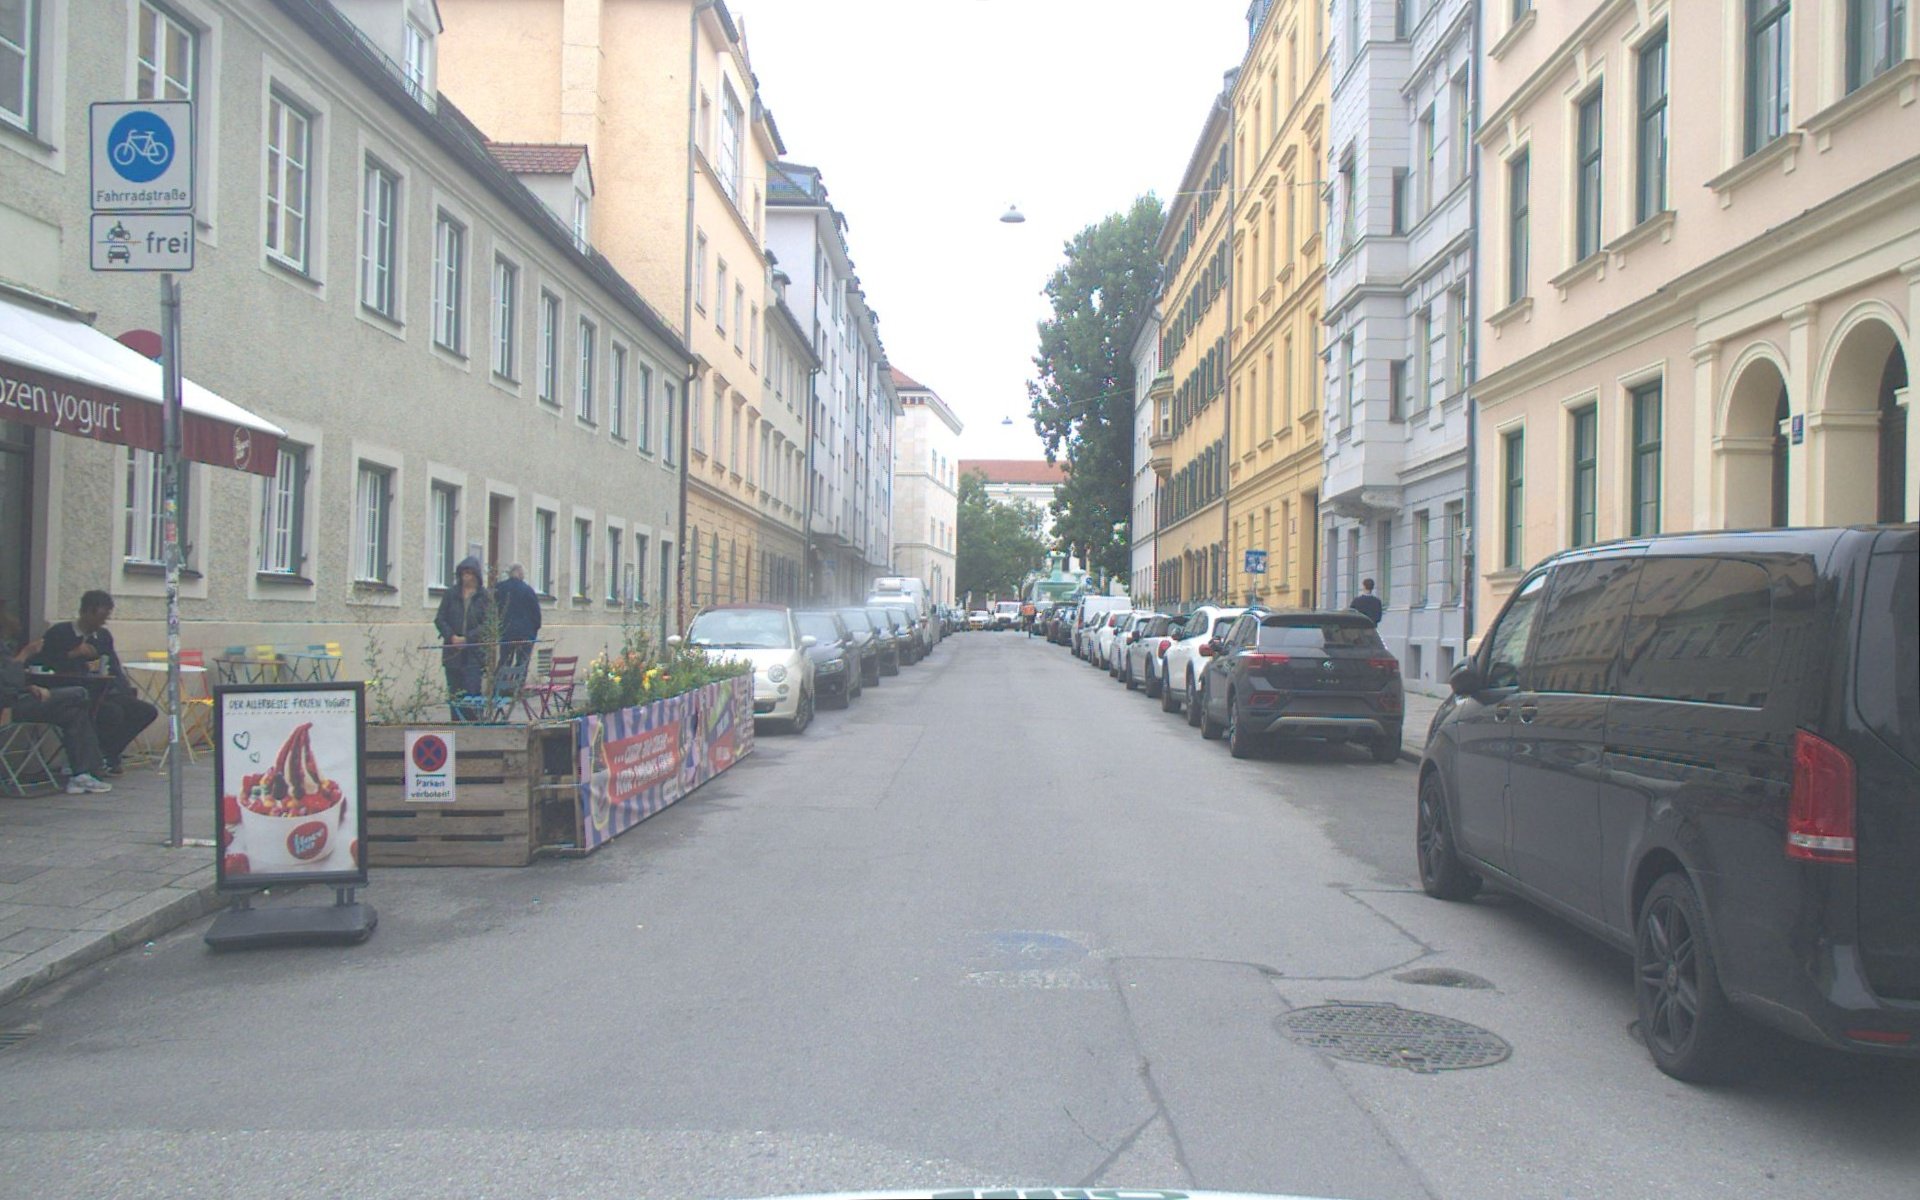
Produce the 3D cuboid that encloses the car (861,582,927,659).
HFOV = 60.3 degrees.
[{"bbox_3d":[-1.891,0.569,46.825,1.719,2.030,4.623,1,0,-3],"label":"car"}]

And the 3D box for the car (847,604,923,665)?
[{"bbox_3d":[-1.847,0.839,41.805,1.719,1.433,4.103,1,0,0],"label":"car"}]

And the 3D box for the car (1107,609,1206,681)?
[{"bbox_3d":[4.193,0.932,35.936,1.673,1.433,4.815,1,0,1],"label":"car"}]

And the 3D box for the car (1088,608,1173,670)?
[{"bbox_3d":[4.322,0.976,42.443,1.673,1.480,4.096,1,0,-1],"label":"car"}]

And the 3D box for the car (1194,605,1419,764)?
[{"bbox_3d":[3.754,0.861,18.611,1.718,1.548,4.275,1,0,1],"label":"car"}]

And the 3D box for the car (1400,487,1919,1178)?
[{"bbox_3d":[3.489,0.669,7.155,1.956,1.897,5.254,2,0,3],"label":"car"}]

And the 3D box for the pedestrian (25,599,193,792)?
[{"bbox_3d":[-6.011,0.664,11.715,0.786,1.313,0.693,1,-2,1],"label":"pedestrian"}]

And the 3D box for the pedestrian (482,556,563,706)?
[{"bbox_3d":[-5.735,0.411,21.725,0.805,1.931,0.827,1,-2,0],"label":"pedestrian"}]

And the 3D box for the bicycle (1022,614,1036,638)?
[{"bbox_3d":[3.321,1.266,80.166,0.661,1.114,1.760,1,-2,2],"label":"bicycle"}]

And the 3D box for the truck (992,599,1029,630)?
[{"bbox_3d":[3.917,1.116,127.175,2.075,2.287,6.190,0,-1,9],"label":"truck"}]

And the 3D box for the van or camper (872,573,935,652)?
[{"bbox_3d":[-1.719,0.394,52.054,1.718,2.321,5.273,1,0,0],"label":"van or camper"}]

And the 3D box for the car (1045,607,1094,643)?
[{"bbox_3d":[4.737,1.068,72.072,1.775,1.449,4.246,2,-1,0],"label":"car"}]

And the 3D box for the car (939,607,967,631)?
[{"bbox_3d":[-0.458,1.280,113.733,1.671,1.638,3.864,0,-1,3],"label":"car"}]

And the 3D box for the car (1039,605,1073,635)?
[{"bbox_3d":[5.374,1.127,92.982,1.774,1.642,4.156,1,-1,2],"label":"car"}]

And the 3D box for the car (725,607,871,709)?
[{"bbox_3d":[-2.420,0.831,25.755,1.761,1.363,4.685,1,0,0],"label":"car"}]

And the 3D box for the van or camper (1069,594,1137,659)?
[{"bbox_3d":[4.475,0.810,52.282,1.796,1.904,5.079,1,0,1],"label":"van or camper"}]

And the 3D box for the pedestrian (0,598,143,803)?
[{"bbox_3d":[-6.017,0.655,10.991,0.786,1.312,0.693,1,-2,1],"label":"pedestrian"}]

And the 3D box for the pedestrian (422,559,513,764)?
[{"bbox_3d":[-4.497,0.557,15.156,0.517,1.813,0.877,1,-2,1],"label":"pedestrian"}]

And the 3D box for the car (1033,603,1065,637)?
[{"bbox_3d":[5.301,1.186,98.860,1.813,1.953,4.770,1,-1,2],"label":"car"}]

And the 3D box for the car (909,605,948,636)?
[{"bbox_3d":[-1.508,1.005,80.588,1.780,1.470,3.818,0,-1,0],"label":"car"}]

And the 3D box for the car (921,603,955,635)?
[{"bbox_3d":[-1.115,0.993,85.866,1.671,1.638,3.863,0,-1,0],"label":"car"}]

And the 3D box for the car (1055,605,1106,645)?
[{"bbox_3d":[4.861,1.013,67.043,1.774,1.490,4.247,2,-1,1],"label":"car"}]

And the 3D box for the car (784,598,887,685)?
[{"bbox_3d":[-2.301,0.751,31.554,1.719,1.522,4.199,1,0,-1],"label":"car"}]

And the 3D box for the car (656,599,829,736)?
[{"bbox_3d":[-2.599,0.768,20.509,1.719,1.501,3.712,2,0,-2],"label":"car"}]

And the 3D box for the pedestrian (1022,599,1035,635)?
[{"bbox_3d":[3.326,0.815,80.185,0.629,1.744,0.843,1,-2,2],"label":"pedestrian"}]

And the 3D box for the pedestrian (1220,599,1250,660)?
[{"bbox_3d":[7.352,0.796,44.302,0.647,1.599,0.642,-2,-2,1],"label":"pedestrian"}]

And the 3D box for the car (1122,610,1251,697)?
[{"bbox_3d":[4.042,0.919,30.099,1.673,1.429,4.206,1,0,-1],"label":"car"}]

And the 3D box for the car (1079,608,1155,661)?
[{"bbox_3d":[4.414,0.946,46.972,1.673,1.417,4.205,1,0,-1],"label":"car"}]

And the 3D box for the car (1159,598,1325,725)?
[{"bbox_3d":[3.933,0.818,23.762,1.707,1.611,4.467,1,0,1],"label":"car"}]

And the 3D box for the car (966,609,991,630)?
[{"bbox_3d":[1.441,1.503,128.339,1.671,1.609,3.864,0,-1,4],"label":"car"}]

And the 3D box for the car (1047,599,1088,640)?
[{"bbox_3d":[5.111,0.916,79.094,1.774,1.829,4.247,2,-1,2],"label":"car"}]

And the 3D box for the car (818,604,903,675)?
[{"bbox_3d":[-2.178,0.832,36.748,1.780,1.467,4.129,0,0,-2],"label":"car"}]

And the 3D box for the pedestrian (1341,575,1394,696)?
[{"bbox_3d":[6.931,0.605,28.171,0.655,2.015,0.708,-2,-2,2],"label":"pedestrian"}]
